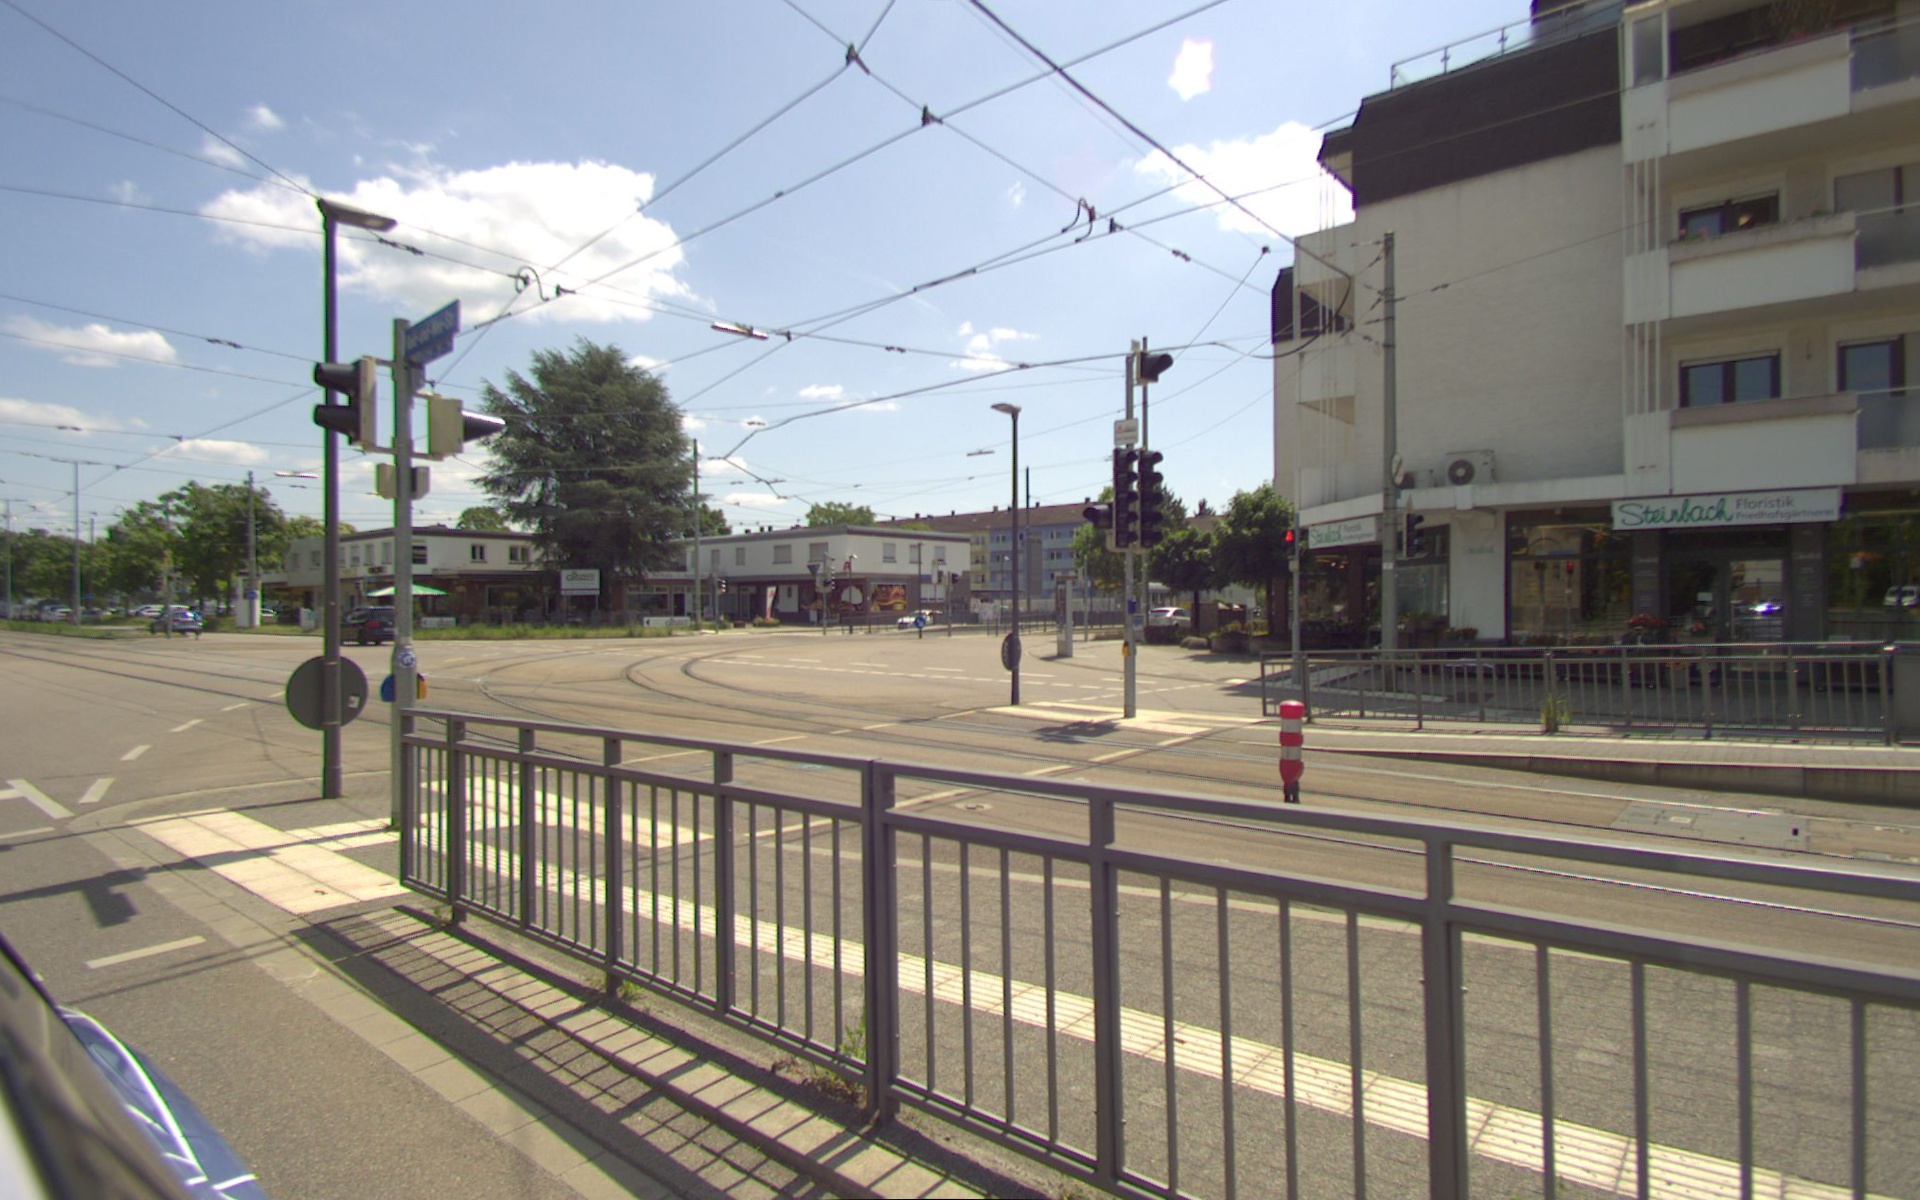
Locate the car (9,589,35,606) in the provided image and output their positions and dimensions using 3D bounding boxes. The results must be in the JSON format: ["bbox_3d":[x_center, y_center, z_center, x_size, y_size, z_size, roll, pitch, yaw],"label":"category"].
[{"bbox_3d":[-114.901,-0.319,123.986,4.646,1.953,1.772,1,2,41],"label":"car"}]

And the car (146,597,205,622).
[{"bbox_3d":[-48.181,0.545,62.163,4.397,1.482,1.973,0,0,40],"label":"car"}]

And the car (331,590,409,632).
[{"bbox_3d":[-24.855,0.447,42.556,4.279,1.696,1.705,-1,-1,43],"label":"car"}]

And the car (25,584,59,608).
[{"bbox_3d":[-102.326,-0.479,112.792,5.031,2.631,2.128,1,2,41],"label":"car"}]

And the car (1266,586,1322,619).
[{"bbox_3d":[21.211,0.186,64.260,2.000,2.029,3.944,0,0,42],"label":"car"}]

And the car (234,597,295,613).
[{"bbox_3d":[-65.924,0.493,95.960,1.906,1.445,4.425,-1,-1,43],"label":"car"}]

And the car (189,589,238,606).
[{"bbox_3d":[-113.515,-0.401,153.966,2.256,2.500,5.629,0,0,37],"label":"car"}]

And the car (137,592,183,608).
[{"bbox_3d":[-94.351,0.012,119.377,1.802,1.749,3.945,1,-1,41],"label":"car"}]

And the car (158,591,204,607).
[{"bbox_3d":[-89.591,-0.117,116.411,1.902,1.749,3.946,0,0,41],"label":"car"}]

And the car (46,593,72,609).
[{"bbox_3d":[-92.894,0.054,104.361,4.358,1.551,1.483,1,2,42],"label":"car"}]

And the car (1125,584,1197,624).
[{"bbox_3d":[10.230,0.197,51.263,1.998,1.927,3.948,0,0,39],"label":"car"}]

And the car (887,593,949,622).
[{"bbox_3d":[-2.715,0.506,66.136,1.899,1.737,3.801,1,-1,41],"label":"car"}]

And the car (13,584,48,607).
[{"bbox_3d":[-108.503,-0.569,118.103,6.699,2.631,2.129,1,2,40],"label":"car"}]

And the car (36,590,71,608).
[{"bbox_3d":[-97.674,-0.117,109.014,4.885,1.851,2.128,1,2,41],"label":"car"}]

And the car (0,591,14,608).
[{"bbox_3d":[-128.984,-0.102,135.975,4.484,2.117,2.046,1,2,39],"label":"car"}]

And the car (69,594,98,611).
[{"bbox_3d":[-85.171,0.248,98.341,4.549,1.551,1.560,1,2,42],"label":"car"}]

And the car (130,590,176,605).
[{"bbox_3d":[-100.093,-0.312,125.485,1.802,1.749,4.146,1,-1,41],"label":"car"}]
